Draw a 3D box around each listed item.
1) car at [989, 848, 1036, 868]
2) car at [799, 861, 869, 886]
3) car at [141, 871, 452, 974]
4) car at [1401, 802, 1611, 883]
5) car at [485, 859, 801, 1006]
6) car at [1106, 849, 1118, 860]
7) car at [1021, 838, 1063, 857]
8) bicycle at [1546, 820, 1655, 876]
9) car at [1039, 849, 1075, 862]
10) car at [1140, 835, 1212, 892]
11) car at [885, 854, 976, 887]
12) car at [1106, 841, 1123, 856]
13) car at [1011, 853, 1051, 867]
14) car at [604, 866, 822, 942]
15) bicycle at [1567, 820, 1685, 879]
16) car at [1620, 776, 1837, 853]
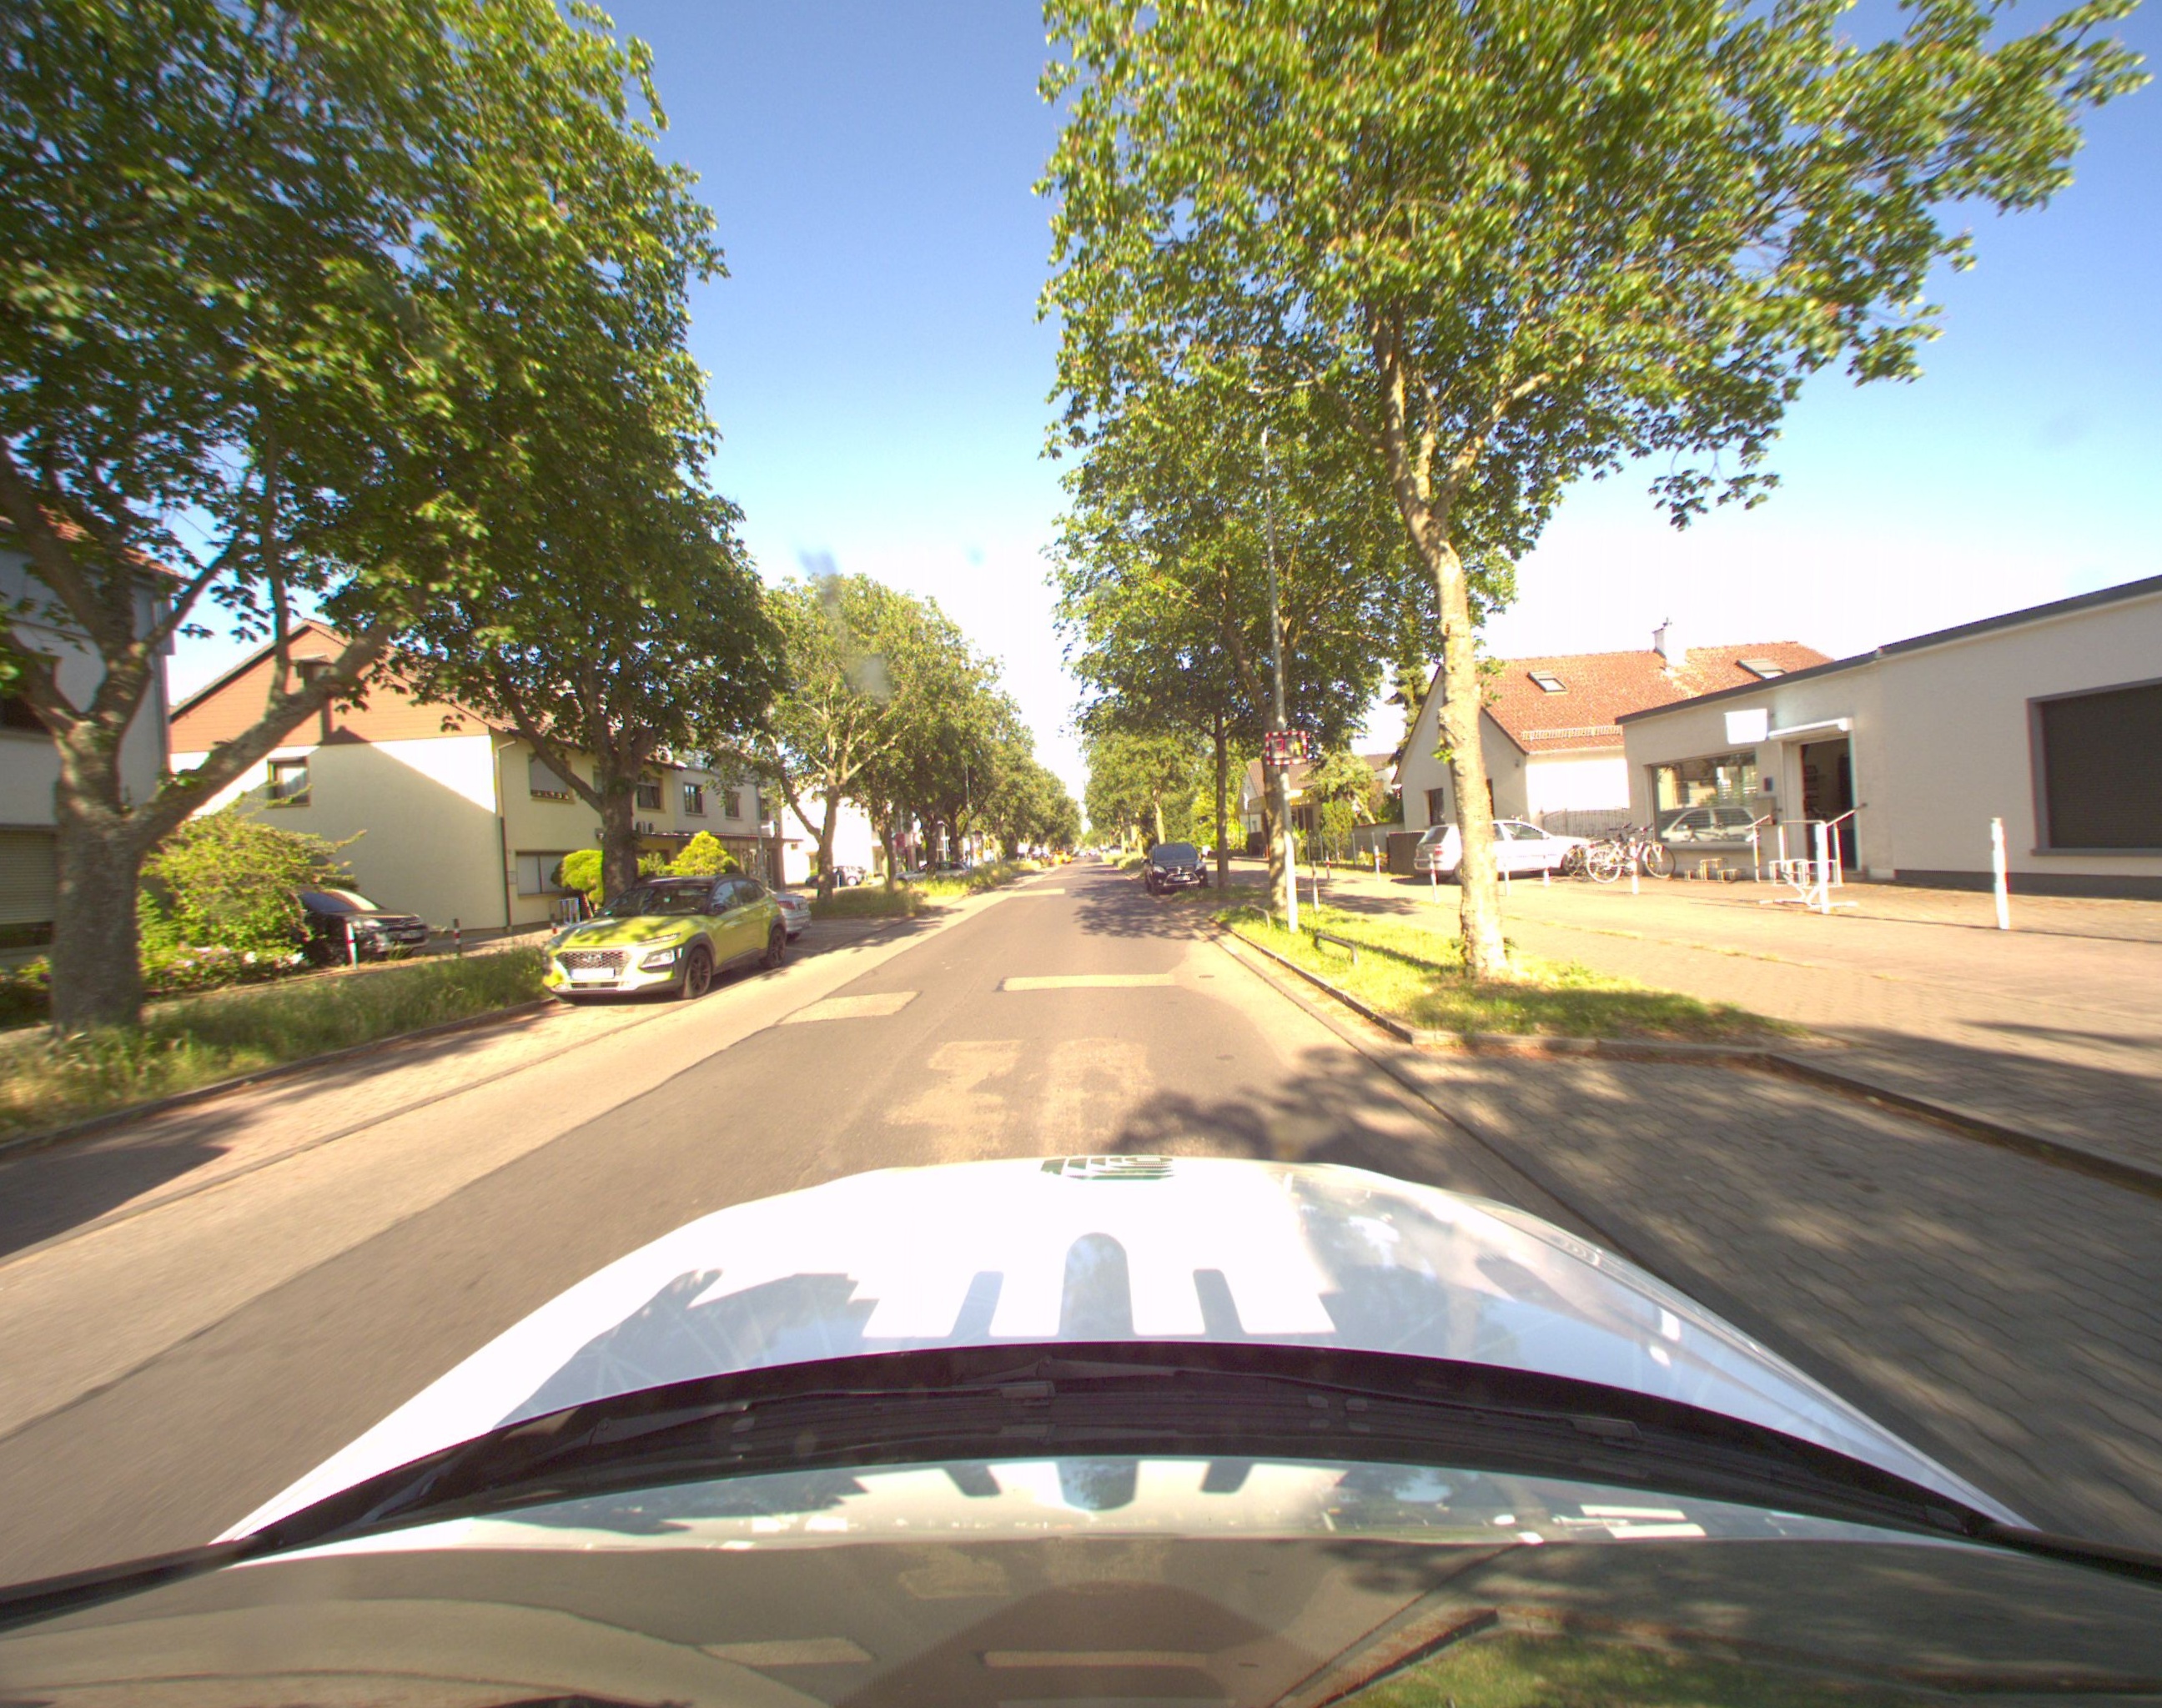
[{"bbox_3d":[-6.852,0.420,81.857,4.537,1.765,1.997,-2,2,-4],"label":"car"},{"bbox_3d":[-18.469,1.434,61.031,4.545,1.617,1.998,-2,2,-4],"label":"car"},{"bbox_3d":[-16.014,1.346,16.859,4.226,1.713,1.997,-2,2,-5],"label":"car"},{"bbox_3d":[10.026,-0.295,19.431,3.975,1.488,1.902,-5,2,-1],"label":"car"},{"bbox_3d":[-5.781,0.919,11.524,1.932,1.608,4.385,-2,-1,2],"label":"car"},{"bbox_3d":[5.220,0.031,138.943,1.896,1.774,4.302,-2,0,1],"label":"car"},{"bbox_3d":[-5.167,-0.898,109.729,5.482,2.247,2.516,-2,2,-1],"label":"car"},{"bbox_3d":[11.019,-0.137,17.311,1.918,0.998,0.576,-5,2,-1],"label":"bicycle"},{"bbox_3d":[-2.930,0.147,99.934,3.843,1.479,1.903,-1,0,19],"label":"car"},{"bbox_3d":[3.143,0.304,27.839,1.847,1.625,4.469,-5,0,1],"label":"car"},{"bbox_3d":[-8.150,0.887,44.299,4.539,1.511,1.841,-2,2,0],"label":"car"},{"bbox_3d":[4.115,-0.691,100.686,1.896,1.774,4.302,-2,0,1],"label":"car"},{"bbox_3d":[-5.419,0.664,87.945,4.279,1.315,1.906,-2,2,-4],"label":"car"},{"bbox_3d":[-7.585,1.000,17.040,3.753,1.301,1.611,-2,2,-1],"label":"car"},{"bbox_3d":[10.910,-0.099,16.322,1.952,0.998,0.576,-5,2,-1],"label":"bicycle"},{"bbox_3d":[16.166,-0.971,20.474,3.978,1.488,1.900,-5,2,-3],"label":"car"}]
